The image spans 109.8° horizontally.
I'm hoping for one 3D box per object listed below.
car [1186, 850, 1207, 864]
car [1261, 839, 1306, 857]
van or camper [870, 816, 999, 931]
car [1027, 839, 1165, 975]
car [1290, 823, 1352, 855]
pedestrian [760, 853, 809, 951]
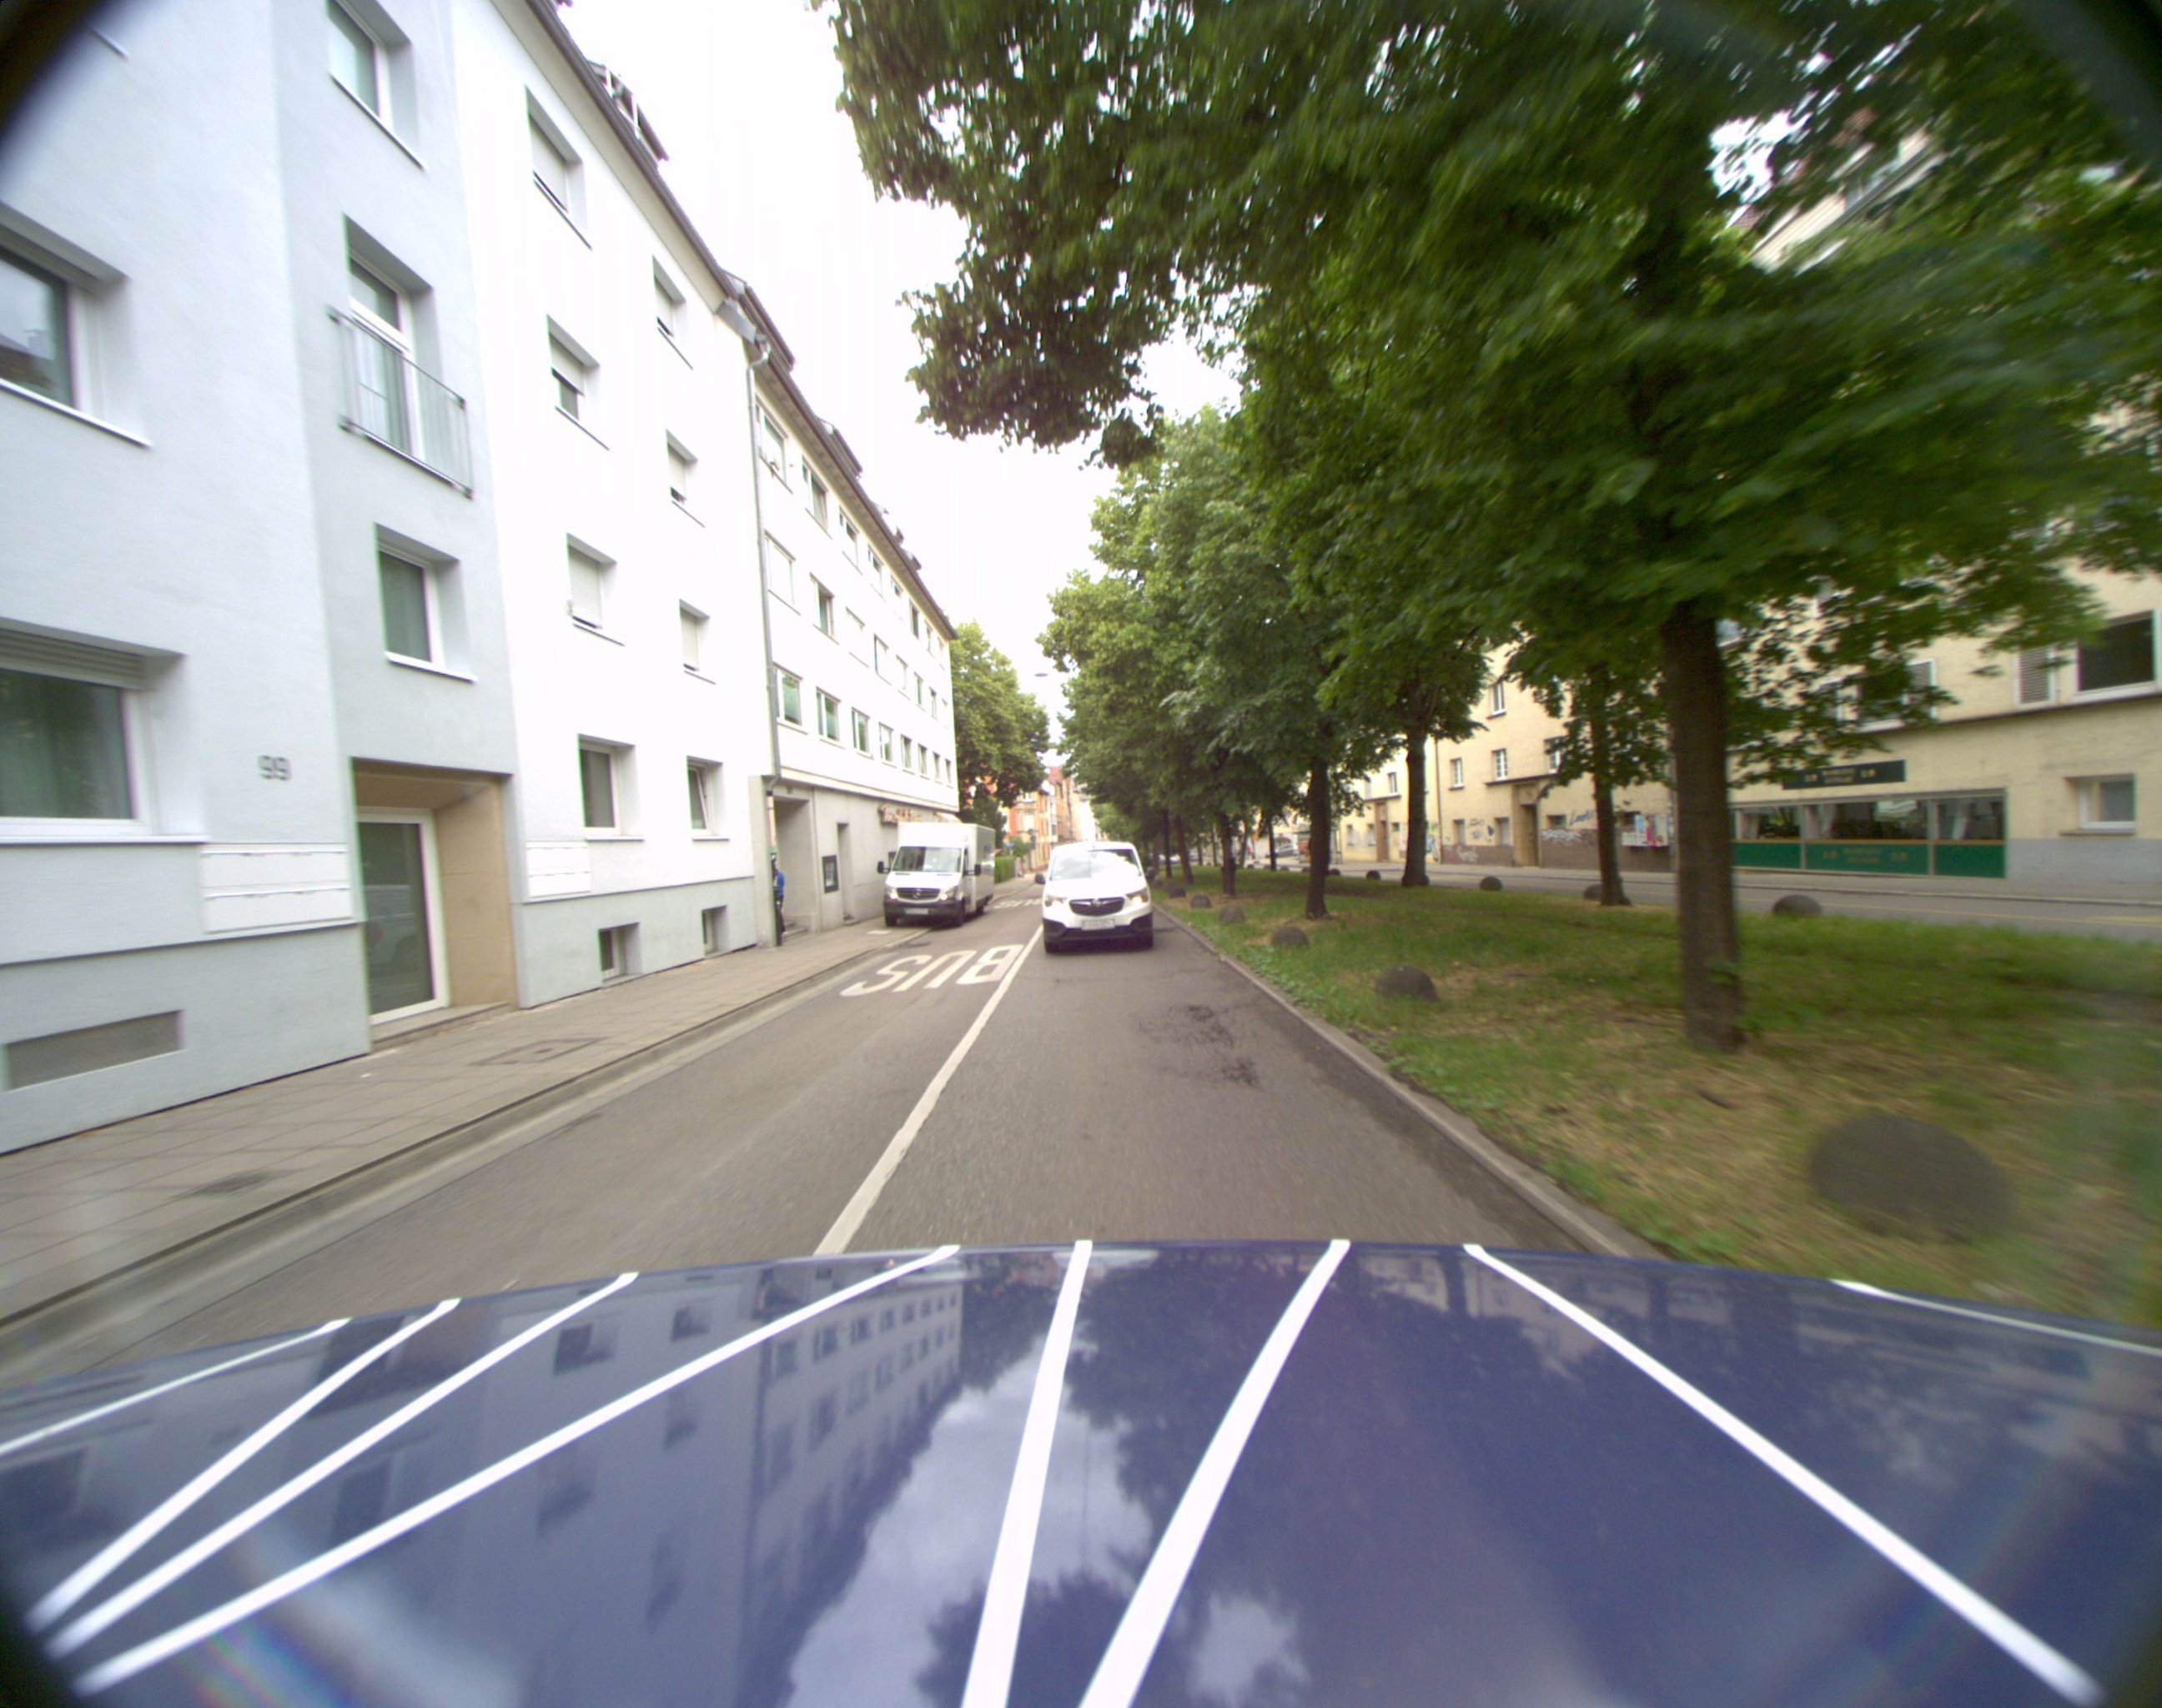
[{"bbox_3d":[14.678,0.404,96.907,1.953,1.619,4.365,-2,0,0],"label":"car"},{"bbox_3d":[21.933,-0.631,82.399,4.298,1.411,2.048,-6,-1,4],"label":"car"},{"bbox_3d":[-3.982,0.463,22.249,2.486,2.786,7.236,0,0,-1],"label":"van or camper"},{"bbox_3d":[0.438,0.719,12.650,1.744,1.830,4.345,-2,1,8],"label":"car"},{"bbox_3d":[23.207,-1.446,73.533,5.189,2.720,2.175,-4,1,-10],"label":"car"},{"bbox_3d":[-6.297,0.994,16.158,0.635,2.002,0.686,-3,1,1],"label":"pedestrian"}]
